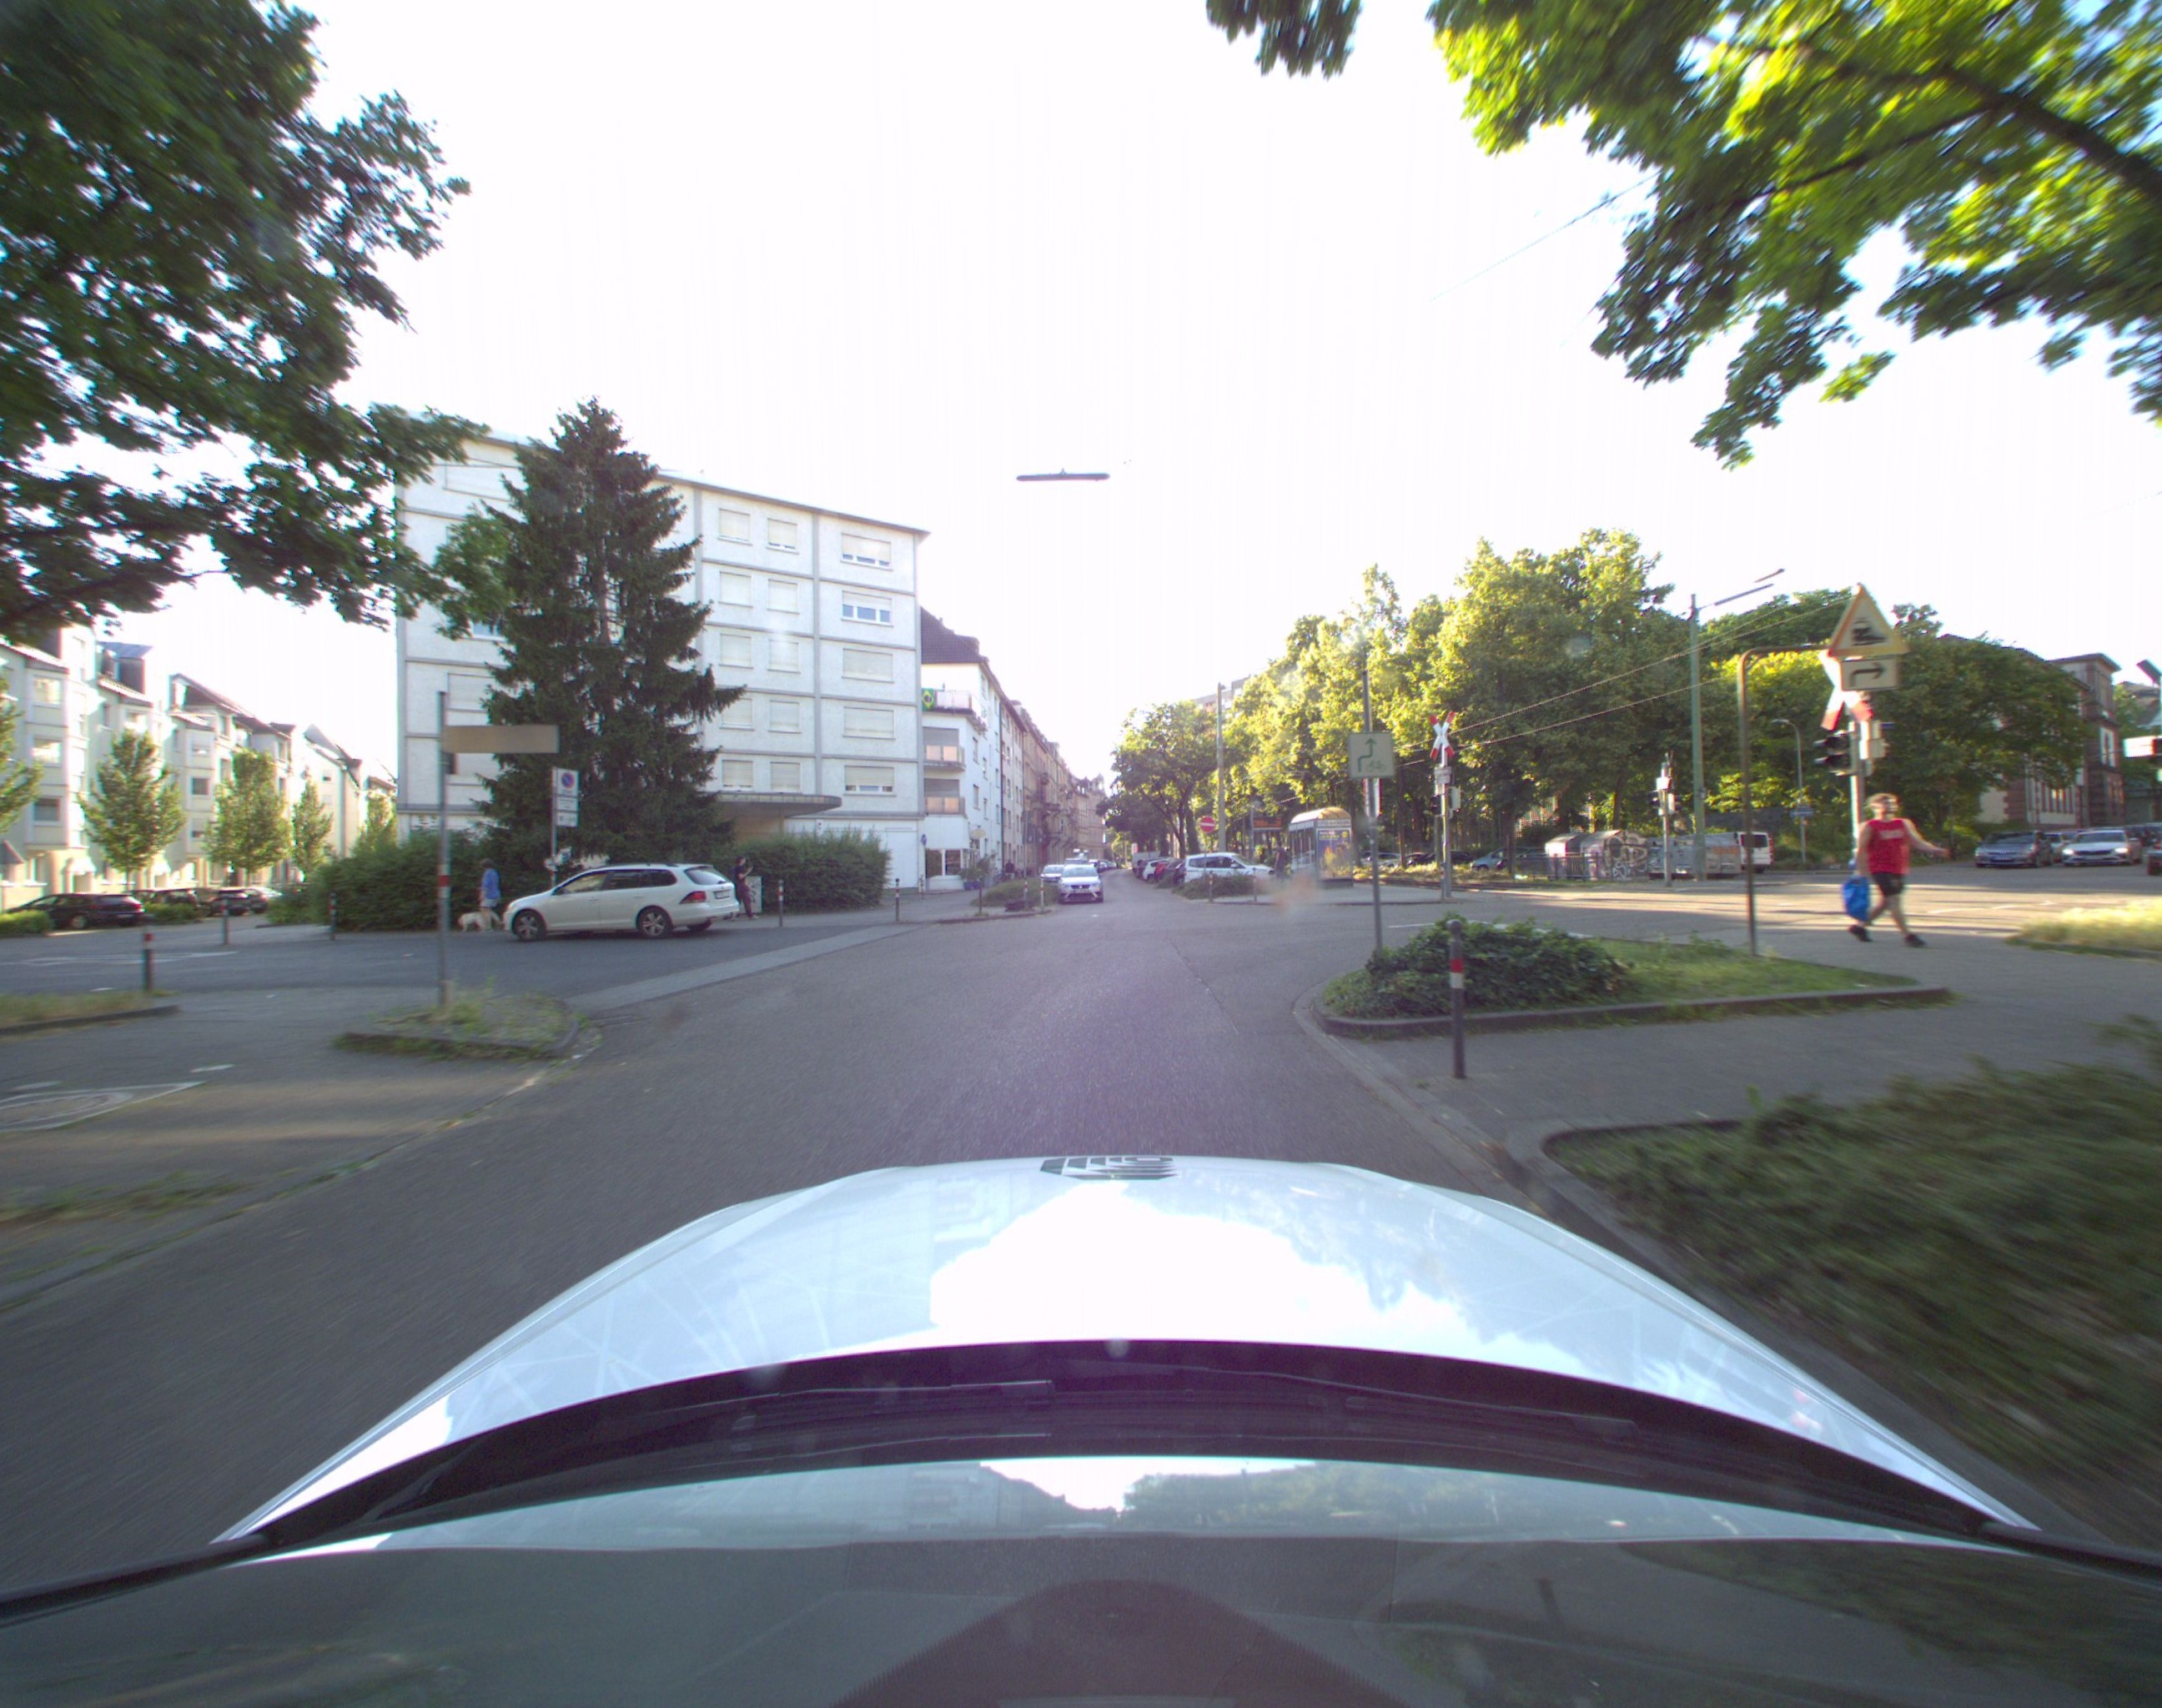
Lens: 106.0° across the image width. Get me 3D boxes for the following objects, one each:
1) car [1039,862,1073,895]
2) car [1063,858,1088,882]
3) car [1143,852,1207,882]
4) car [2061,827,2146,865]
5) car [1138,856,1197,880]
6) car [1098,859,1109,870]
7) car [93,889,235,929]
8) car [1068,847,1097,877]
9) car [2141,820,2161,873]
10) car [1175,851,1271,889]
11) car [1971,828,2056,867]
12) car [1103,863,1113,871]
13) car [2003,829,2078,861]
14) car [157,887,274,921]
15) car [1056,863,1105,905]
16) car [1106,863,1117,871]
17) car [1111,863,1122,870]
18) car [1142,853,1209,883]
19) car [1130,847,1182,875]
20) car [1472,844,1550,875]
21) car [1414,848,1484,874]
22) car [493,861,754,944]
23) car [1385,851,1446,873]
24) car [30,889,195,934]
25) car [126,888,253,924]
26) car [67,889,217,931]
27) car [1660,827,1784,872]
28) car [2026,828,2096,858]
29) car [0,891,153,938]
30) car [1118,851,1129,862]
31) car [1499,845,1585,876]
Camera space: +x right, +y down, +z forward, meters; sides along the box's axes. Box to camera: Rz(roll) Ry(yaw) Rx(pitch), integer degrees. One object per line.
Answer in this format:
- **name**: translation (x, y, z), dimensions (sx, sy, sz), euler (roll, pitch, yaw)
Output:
- **car**: translation (-1.324, 1.295, 44.774), dimensions (1.705, 1.673, 3.999), euler (-3, 0, 0)
- **car**: translation (-0.431, 1.377, 70.909), dimensions (1.702, 1.932, 4.005), euler (-3, 0, 5)
- **car**: translation (6.879, 0.954, 59.704), dimensions (4.186, 1.749, 1.870), euler (-6, -1, 38)
- **car**: translation (43.007, -0.344, 34.238), dimensions (4.076, 1.457, 1.690), euler (-2, -1, -31)
- **car**: translation (6.974, 1.122, 65.925), dimensions (4.186, 1.473, 1.870), euler (-6, -1, 30)
- **car**: translation (4.423, 2.015, 157.215), dimensions (1.702, 1.820, 4.007), euler (-3, 0, 6)
- **car**: translation (-42.765, 2.544, 38.111), dimensions (4.011, 1.558, 1.729), euler (-2, -1, -29)
- **car**: translation (0.220, 0.822, 86.312), dimensions (2.540, 2.887, 5.488), euler (-3, 0, 5)
- **car**: translation (35.918, -0.256, 26.159), dimensions (4.202, 1.656, 1.903), euler (-1, 2, -33)
- **car**: translation (6.931, 0.777, 39.828), dimensions (4.153, 1.436, 1.711), euler (-6, -1, 27)
- **car**: translation (41.398, -0.316, 36.136), dimensions (4.306, 1.614, 1.814), euler (-1, 2, -32)
- **car**: translation (5.530, 2.629, 167.186), dimensions (1.702, 1.446, 4.007), euler (-3, 0, 7)
- **car**: translation (46.934, -0.476, 39.832), dimensions (3.945, 1.446, 1.814), euler (-1, 2, -32)
- **car**: translation (-47.003, 2.677, 44.355), dimensions (4.011, 1.558, 1.729), euler (-2, -1, -29)
- **car**: translation (-0.067, 1.128, 32.111), dimensions (1.706, 1.446, 3.996), euler (-3, 0, -2)
- **car**: translation (6.422, 2.717, 172.558), dimensions (1.701, 1.446, 4.010), euler (-3, 0, 9)
- **car**: translation (7.696, 2.675, 177.423), dimensions (1.700, 1.446, 4.012), euler (-3, 0, 10)
- **car**: translation (6.570, 0.963, 56.757), dimensions (4.186, 1.651, 1.870), euler (-6, -1, 38)
- **car**: translation (8.561, 0.804, 92.707), dimensions (5.201, 2.571, 2.288), euler (-6, -1, 30)
- **car**: translation (22.749, 0.273, 43.214), dimensions (3.574, 1.562, 1.617), euler (1, 0, 25)
- **car**: translation (22.383, 0.411, 49.635), dimensions (3.784, 1.497, 1.746), euler (1, -1, 21)
- **car**: translation (-9.300, 0.954, 16.792), dimensions (4.262, 1.450, 1.926), euler (-2, 0, 4)
- **car**: translation (22.622, 0.521, 55.169), dimensions (3.784, 1.391, 1.746), euler (1, -1, 21)
- **car**: translation (-39.918, 2.336, 33.703), dimensions (4.011, 1.558, 1.729), euler (-2, -1, -29)
- **car**: translation (-45.458, 2.624, 41.650), dimensions (4.011, 1.558, 1.729), euler (-2, -1, -29)
- **car**: translation (-41.837, 2.460, 36.420), dimensions (4.011, 1.558, 1.729), euler (-2, -1, -29)
- **car**: translation (30.699, -0.180, 39.209), dimensions (1.942, 2.003, 4.649), euler (-2, -1, -6)
- **car**: translation (51.616, -0.591, 42.886), dimensions (3.945, 1.477, 1.814), euler (-1, 2, -32)
- **car**: translation (-39.479, 2.324, 31.704), dimensions (4.011, 1.558, 1.729), euler (-2, -1, -29)
- **car**: translation (9.772, 0.590, 187.225), dimensions (1.700, 2.562, 5.583), euler (-3, 0, 10)
- **car**: translation (22.679, 0.304, 40.225), dimensions (3.574, 1.447, 1.617), euler (1, 0, 25)
